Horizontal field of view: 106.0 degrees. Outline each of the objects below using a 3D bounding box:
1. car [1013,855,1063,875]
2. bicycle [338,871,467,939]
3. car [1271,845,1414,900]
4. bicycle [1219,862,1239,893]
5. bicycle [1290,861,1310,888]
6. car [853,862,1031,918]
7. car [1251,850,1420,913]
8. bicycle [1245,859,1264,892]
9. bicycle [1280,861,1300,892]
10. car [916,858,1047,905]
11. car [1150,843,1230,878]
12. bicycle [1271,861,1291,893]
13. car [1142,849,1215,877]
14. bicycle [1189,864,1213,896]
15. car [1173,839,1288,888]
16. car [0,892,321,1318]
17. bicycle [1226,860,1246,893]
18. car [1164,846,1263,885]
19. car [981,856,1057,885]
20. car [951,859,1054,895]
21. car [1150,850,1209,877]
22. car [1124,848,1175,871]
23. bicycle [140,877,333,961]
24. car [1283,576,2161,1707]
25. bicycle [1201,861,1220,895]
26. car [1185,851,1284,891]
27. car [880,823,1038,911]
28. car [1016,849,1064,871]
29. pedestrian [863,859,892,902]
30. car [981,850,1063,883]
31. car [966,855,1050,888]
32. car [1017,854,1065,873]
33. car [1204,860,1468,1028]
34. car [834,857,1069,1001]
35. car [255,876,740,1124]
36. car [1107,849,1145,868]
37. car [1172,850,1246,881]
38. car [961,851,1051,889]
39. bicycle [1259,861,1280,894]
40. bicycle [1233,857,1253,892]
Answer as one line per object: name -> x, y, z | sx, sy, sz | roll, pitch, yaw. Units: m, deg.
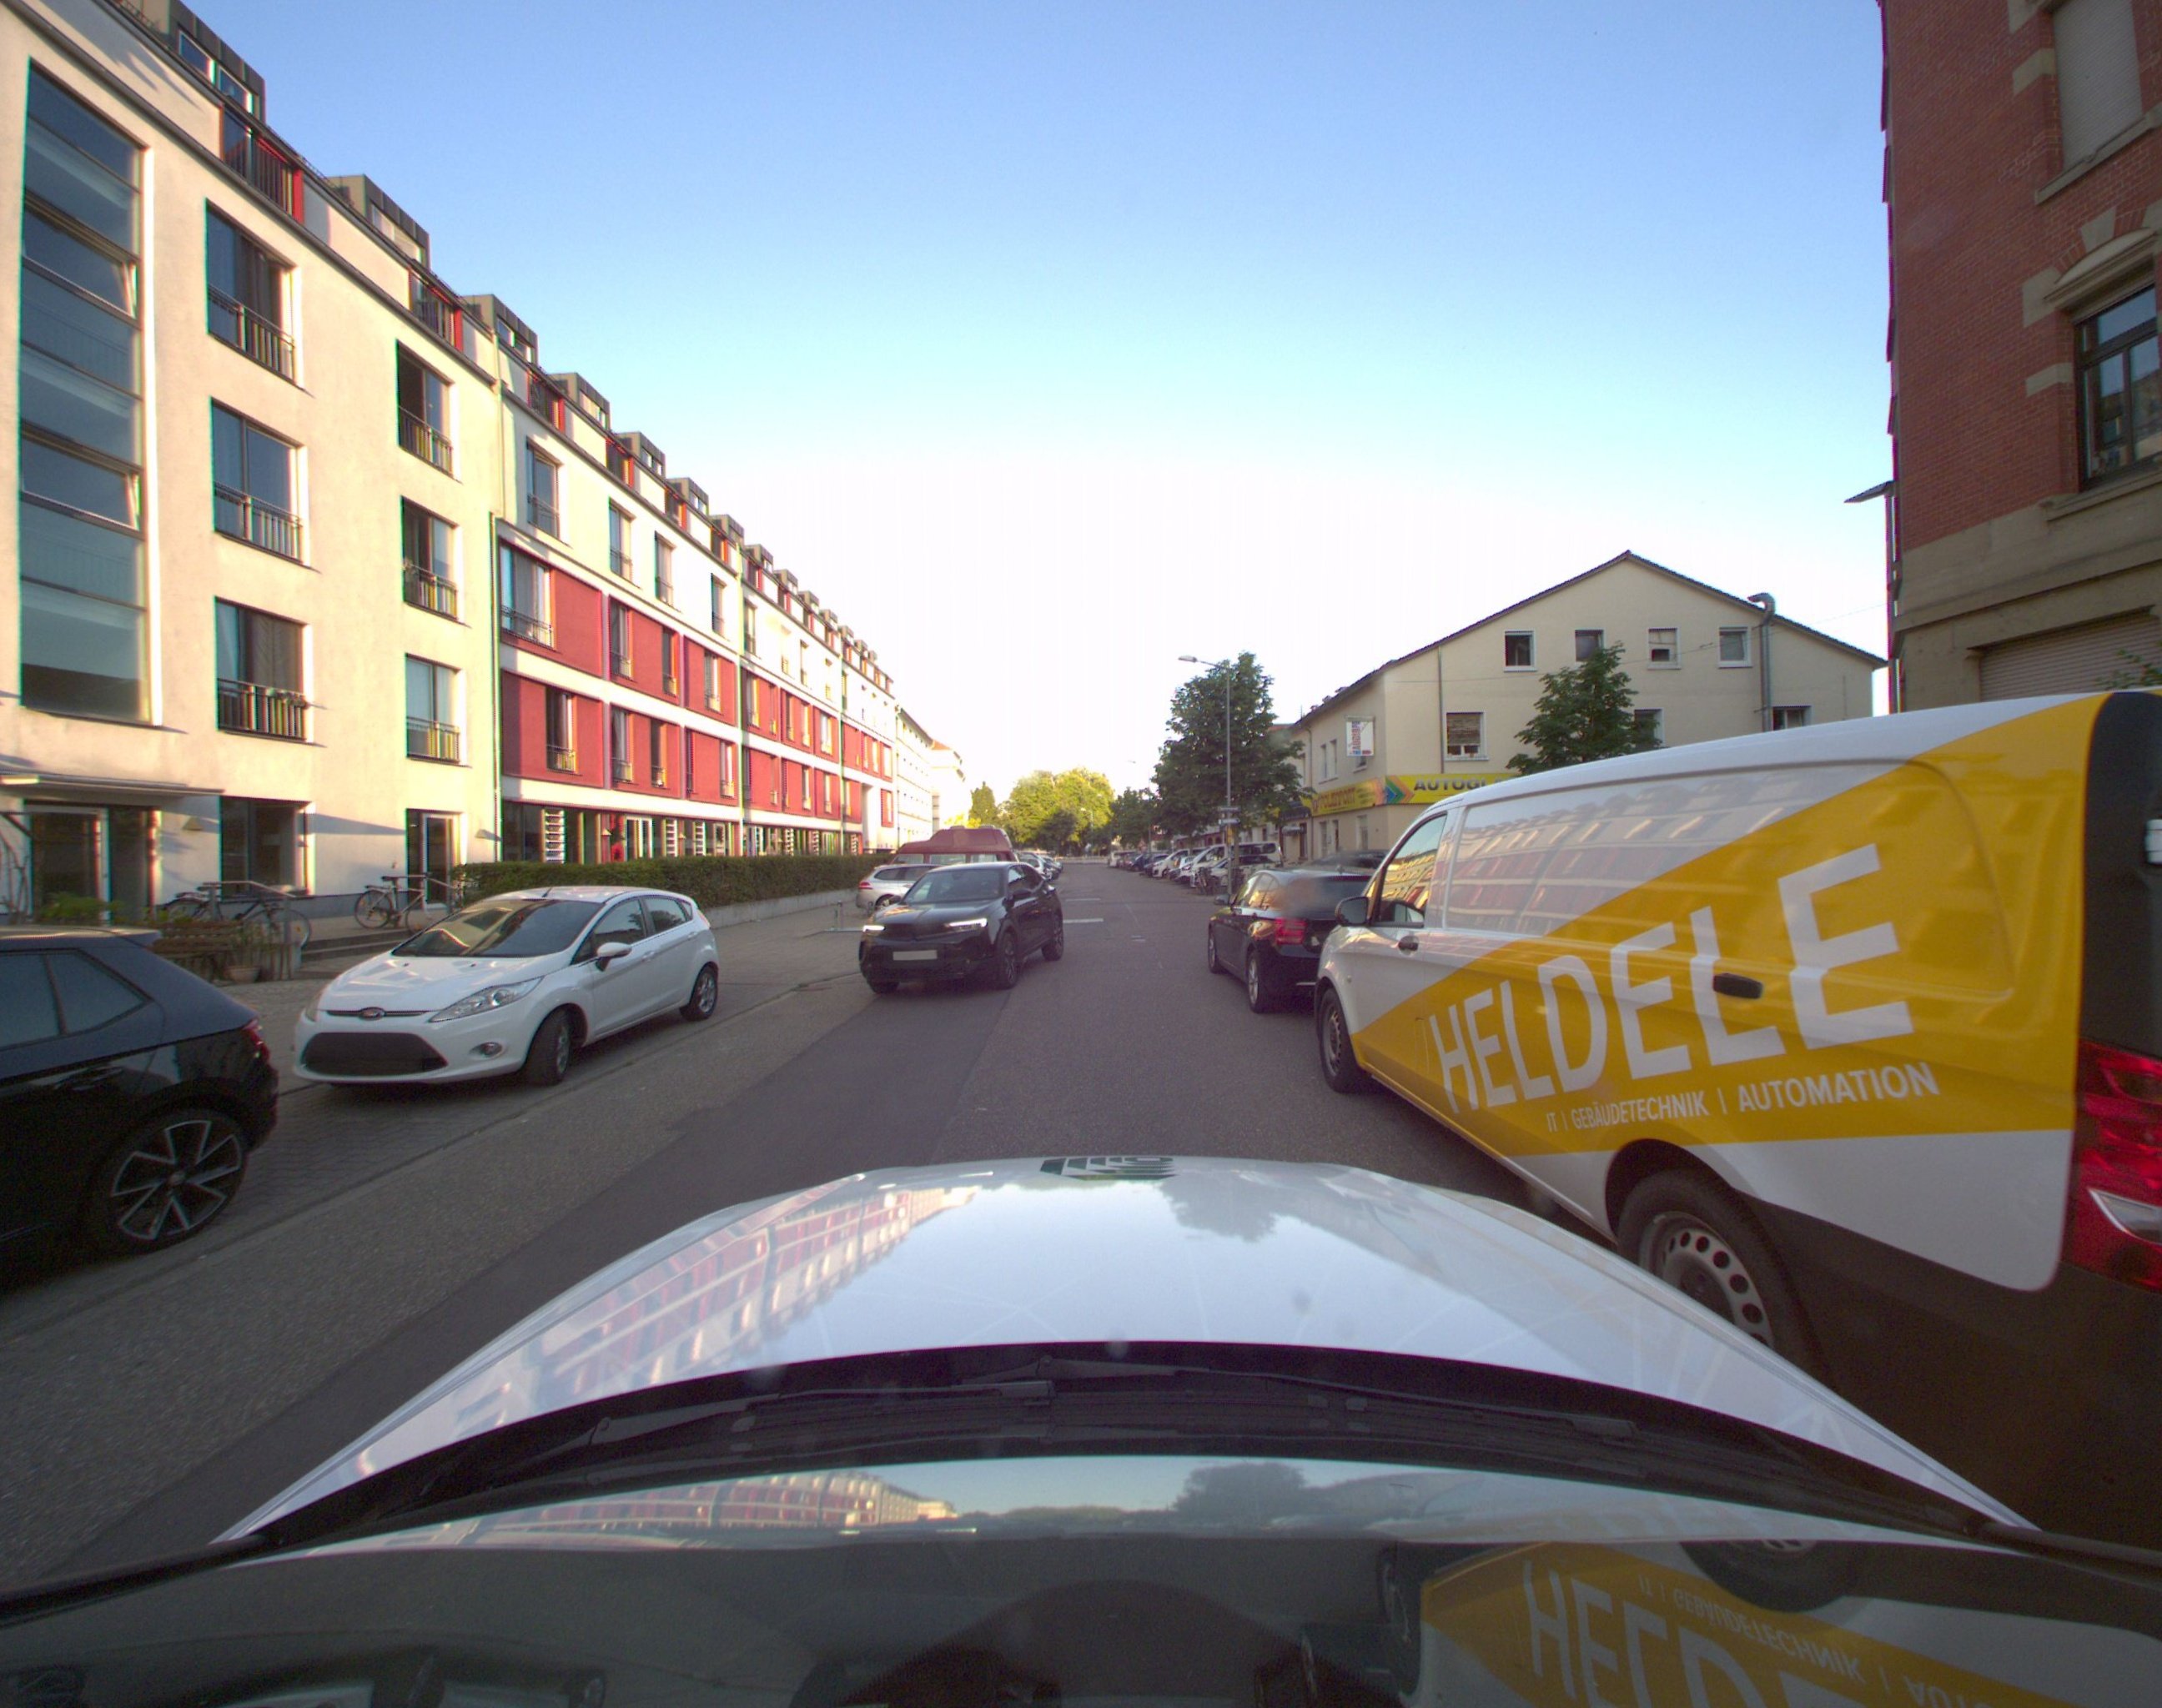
car -> -3.715, 0.915, 71.037 | 4.242, 1.714, 2.000 | 0, 0, 0
bicycle -> -11.882, 0.886, 14.289 | 1.768, 1.148, 0.611 | 0, 0, 3
car -> 8.340, 0.570, 26.252 | 4.035, 1.514, 1.757 | -3, 2, 1
bicycle -> 5.709, 0.899, 31.506 | 0.384, 1.114, 2.018 | -3, 0, 1
bicycle -> 8.438, 0.778, 31.406 | 0.386, 1.017, 1.481 | -3, 0, 1
car -> -3.712, 0.954, 22.375 | 4.604, 1.460, 1.879 | 0, 0, -3
car -> 6.702, 0.680, 21.611 | 3.926, 1.455, 1.653 | -2, 0, -8
bicycle -> 6.669, 0.810, 31.337 | 0.384, 1.200, 1.481 | -3, 0, 1
bicycle -> 8.036, 0.846, 31.364 | 0.351, 1.143, 1.481 | -3, 0, 1
car -> -3.292, 0.894, 27.519 | 4.197, 1.538, 1.790 | 0, 0, -1
car -> 7.131, 0.438, 53.647 | 4.930, 1.958, 2.048 | -3, 0, -1
bicycle -> 7.676, 0.868, 31.285 | 0.351, 1.200, 1.481 | -3, 0, 1
car -> 6.955, 0.645, 58.519 | 4.930, 1.689, 2.076 | -3, 0, -1
bicycle -> 4.583, 0.976, 31.296 | 0.437, 1.130, 2.014 | -3, 0, -4
car -> 6.981, 0.433, 38.410 | 4.972, 1.983, 2.220 | -3, 0, 1
car -> -4.915, 0.980, 2.393 | 1.697, 1.534, 3.845 | -1, 0, 1
bicycle -> 5.992, 0.839, 31.490 | 0.384, 1.200, 2.018 | -3, 0, 1
car -> 7.062, 0.597, 43.753 | 4.926, 1.742, 2.050 | -3, 0, 1
car -> -3.557, 0.943, 47.381 | 4.242, 1.652, 1.888 | 0, 0, 0
car -> -3.342, 0.968, 35.128 | 4.194, 1.490, 1.850 | 0, 0, 1
car -> 7.661, 0.716, 63.419 | 4.304, 1.804, 1.810 | -3, 0, -1
car -> 6.374, 0.507, 76.100 | 4.470, 1.911, 1.685 | -3, 0, -4
bicycle -> -12.053, 0.909, 11.666 | 1.908, 1.141, 0.812 | 0, 0, 1
car -> 2.483, 0.536, 3.705 | 1.887, 1.884, 5.082 | -1, 0, 0
bicycle -> 5.000, 0.907, 31.479 | 0.384, 1.200, 2.018 | -3, 0, 1
car -> 6.673, 0.717, 35.624 | 3.908, 1.451, 1.767 | -3, 0, -2
car -> -3.645, 0.393, 24.955 | 4.494, 2.584, 2.001 | 0, 0, 2
car -> -3.911, 0.573, 78.450 | 4.518, 2.134, 2.000 | 0, 0, 0
pedestrian -> -7.307, 0.942, 29.268 | 0.829, 1.501, 0.798 | 0, 0, 1
car -> -3.592, 0.748, 49.938 | 4.834, 2.021, 1.906 | 0, 0, 0
car -> -3.809, 0.909, 43.027 | 4.242, 1.660, 2.000 | 0, 0, 0
car -> -3.693, 0.882, 75.809 | 4.242, 1.749, 2.000 | 0, 0, 0
car -> 2.551, 0.801, 9.236 | 1.715, 1.424, 4.253 | 0, 0, 1
car -> -1.494, 0.850, 11.016 | 1.768, 1.517, 4.013 | -3, 0, 11
car -> -4.760, 1.031, 7.491 | 1.646, 1.530, 4.014 | -1, 0, -2
car -> 5.020, 0.472, 91.618 | 3.961, 1.911, 2.046 | -3, 0, -4
car -> 7.259, 0.634, 46.385 | 3.897, 1.526, 1.940 | -3, 0, 1
car -> -3.667, 0.794, 40.553 | 4.242, 1.836, 2.000 | 0, 0, 0
bicycle -> 7.249, 0.896, 31.299 | 0.443, 1.200, 1.481 | -3, 0, 1
bicycle -> 6.251, 0.779, 31.497 | 0.384, 1.304, 2.018 | -3, 0, 1
